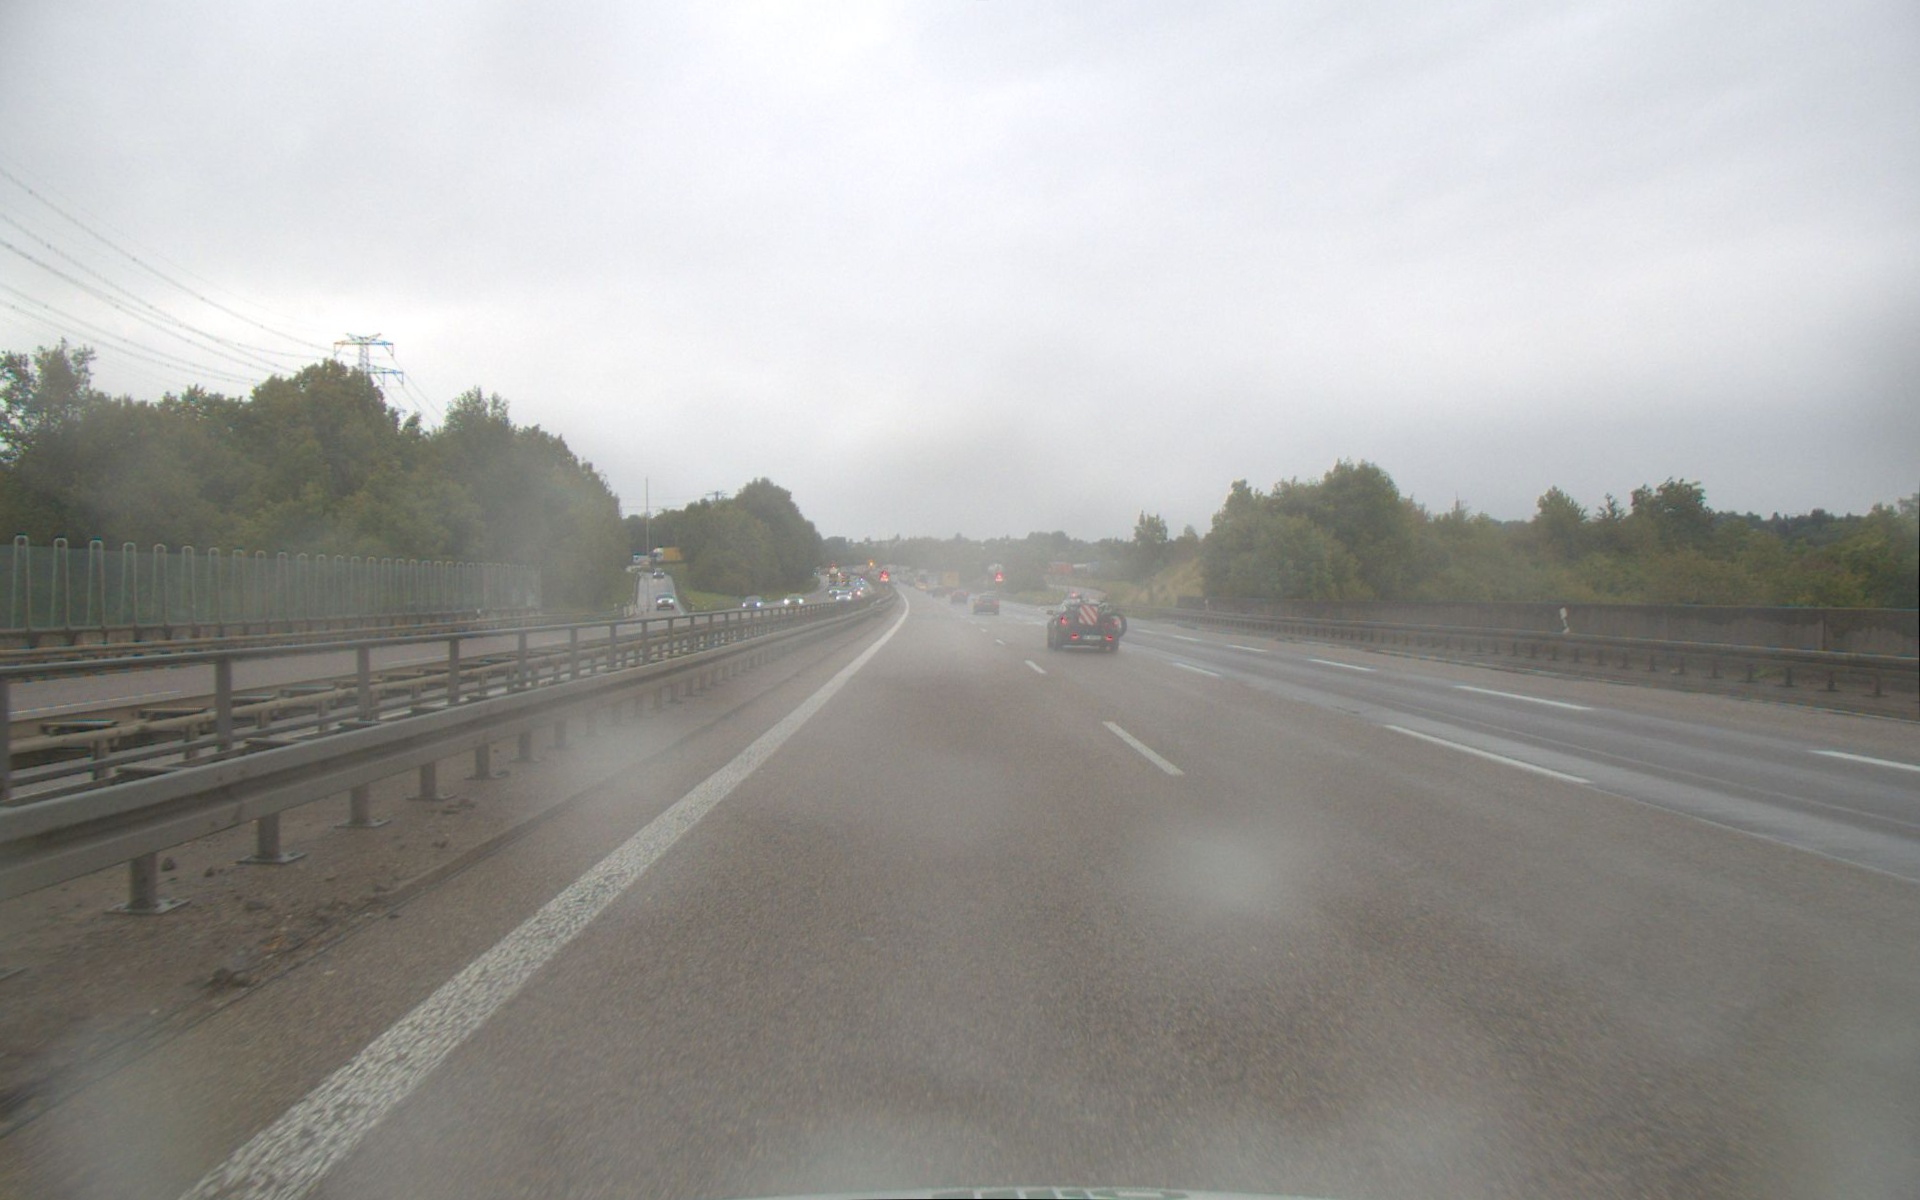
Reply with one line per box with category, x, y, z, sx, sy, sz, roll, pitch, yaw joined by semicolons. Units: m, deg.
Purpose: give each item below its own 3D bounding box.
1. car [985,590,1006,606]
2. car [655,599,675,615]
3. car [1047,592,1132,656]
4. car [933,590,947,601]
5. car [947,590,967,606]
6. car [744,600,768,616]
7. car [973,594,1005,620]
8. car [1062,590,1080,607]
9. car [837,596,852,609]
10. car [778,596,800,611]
car;3.955;-0.232;184.627;1.954;1.791;3.998;-1;1;-3
car;-33.469;0.779;187.528;1.959;1.699;3.987;-1;0;-13
car;3.619;0.658;47.048;2.015;1.700;5.522;0;0;0
car;-3.025;-0.679;255.069;1.954;1.657;3.998;-1;1;-3
car;-0.358;-0.259;182.645;1.954;1.657;3.998;-1;1;-3
car;-19.265;0.714;156.563;1.779;1.413;4.088;-2;0;-1
car;2.055;0.486;118.434;1.954;1.791;3.998;-1;1;-3
car;11.532;-0.176;171.948;1.882;1.739;4.002;-1;1;4
car;-13.660;0.316;195.671;1.623;1.462;4.088;-2;0;-1
car;-17.069;0.335;165.180;1.779;1.462;4.088;-2;0;-1
